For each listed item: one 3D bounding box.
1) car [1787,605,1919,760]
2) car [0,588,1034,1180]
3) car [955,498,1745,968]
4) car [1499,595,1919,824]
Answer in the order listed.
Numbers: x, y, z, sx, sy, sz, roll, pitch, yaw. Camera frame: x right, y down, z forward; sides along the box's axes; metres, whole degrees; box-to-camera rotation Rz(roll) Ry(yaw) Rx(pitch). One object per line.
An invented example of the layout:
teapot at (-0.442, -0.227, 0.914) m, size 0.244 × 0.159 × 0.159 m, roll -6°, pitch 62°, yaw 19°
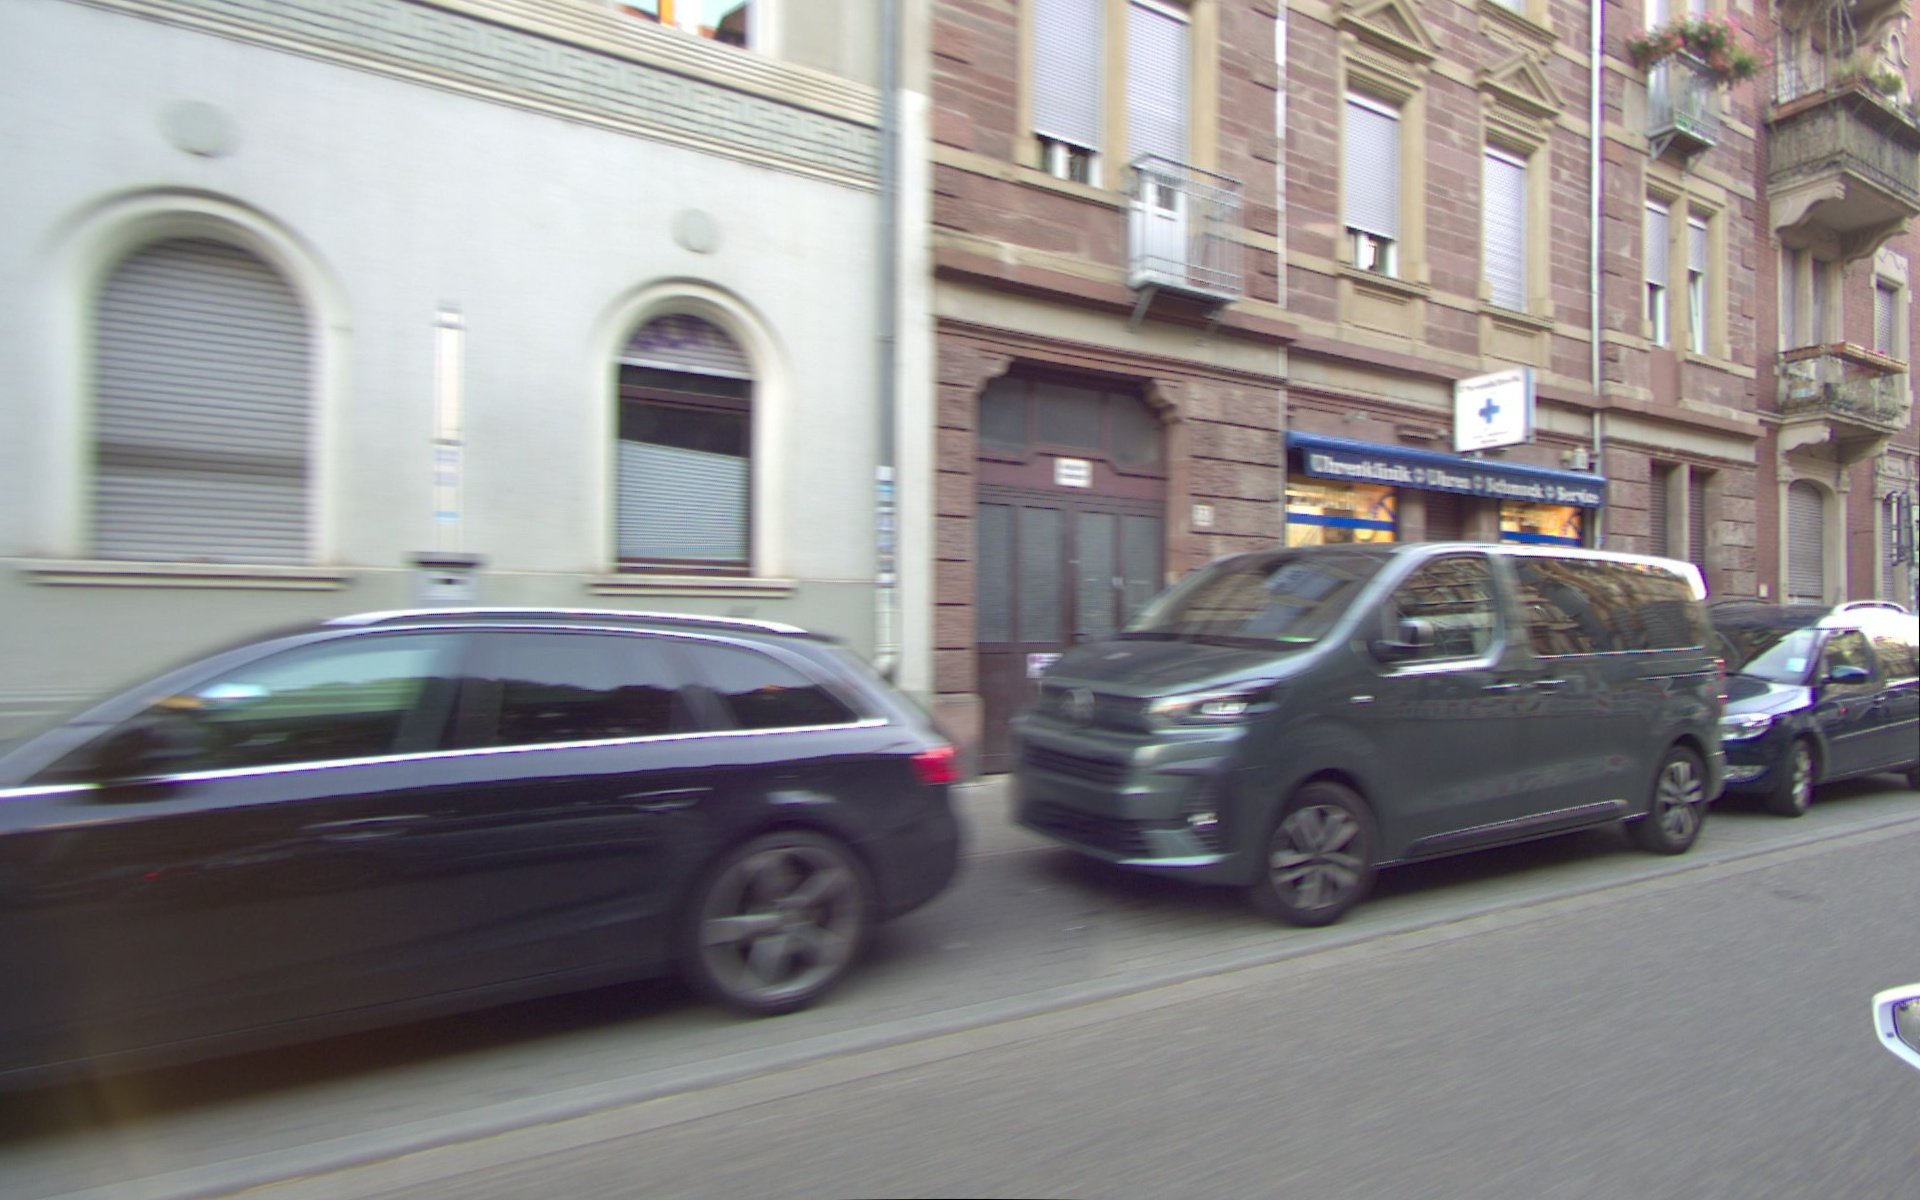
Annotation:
car at (11.103, 0.857, 11.123) m, size 3.744 × 1.550 × 1.699 m, roll 1°, pitch -1°, yaw -28°
car at (-2.089, 0.715, 3.725) m, size 4.428 × 1.449 × 1.918 m, roll 1°, pitch -1°, yaw -30°
car at (2.542, 0.587, 6.147) m, size 4.847 × 1.908 × 1.918 m, roll 1°, pitch -1°, yaw -30°
car at (6.899, 0.813, 8.876) m, size 3.919 × 1.617 × 1.920 m, roll 1°, pitch -1°, yaw -28°
